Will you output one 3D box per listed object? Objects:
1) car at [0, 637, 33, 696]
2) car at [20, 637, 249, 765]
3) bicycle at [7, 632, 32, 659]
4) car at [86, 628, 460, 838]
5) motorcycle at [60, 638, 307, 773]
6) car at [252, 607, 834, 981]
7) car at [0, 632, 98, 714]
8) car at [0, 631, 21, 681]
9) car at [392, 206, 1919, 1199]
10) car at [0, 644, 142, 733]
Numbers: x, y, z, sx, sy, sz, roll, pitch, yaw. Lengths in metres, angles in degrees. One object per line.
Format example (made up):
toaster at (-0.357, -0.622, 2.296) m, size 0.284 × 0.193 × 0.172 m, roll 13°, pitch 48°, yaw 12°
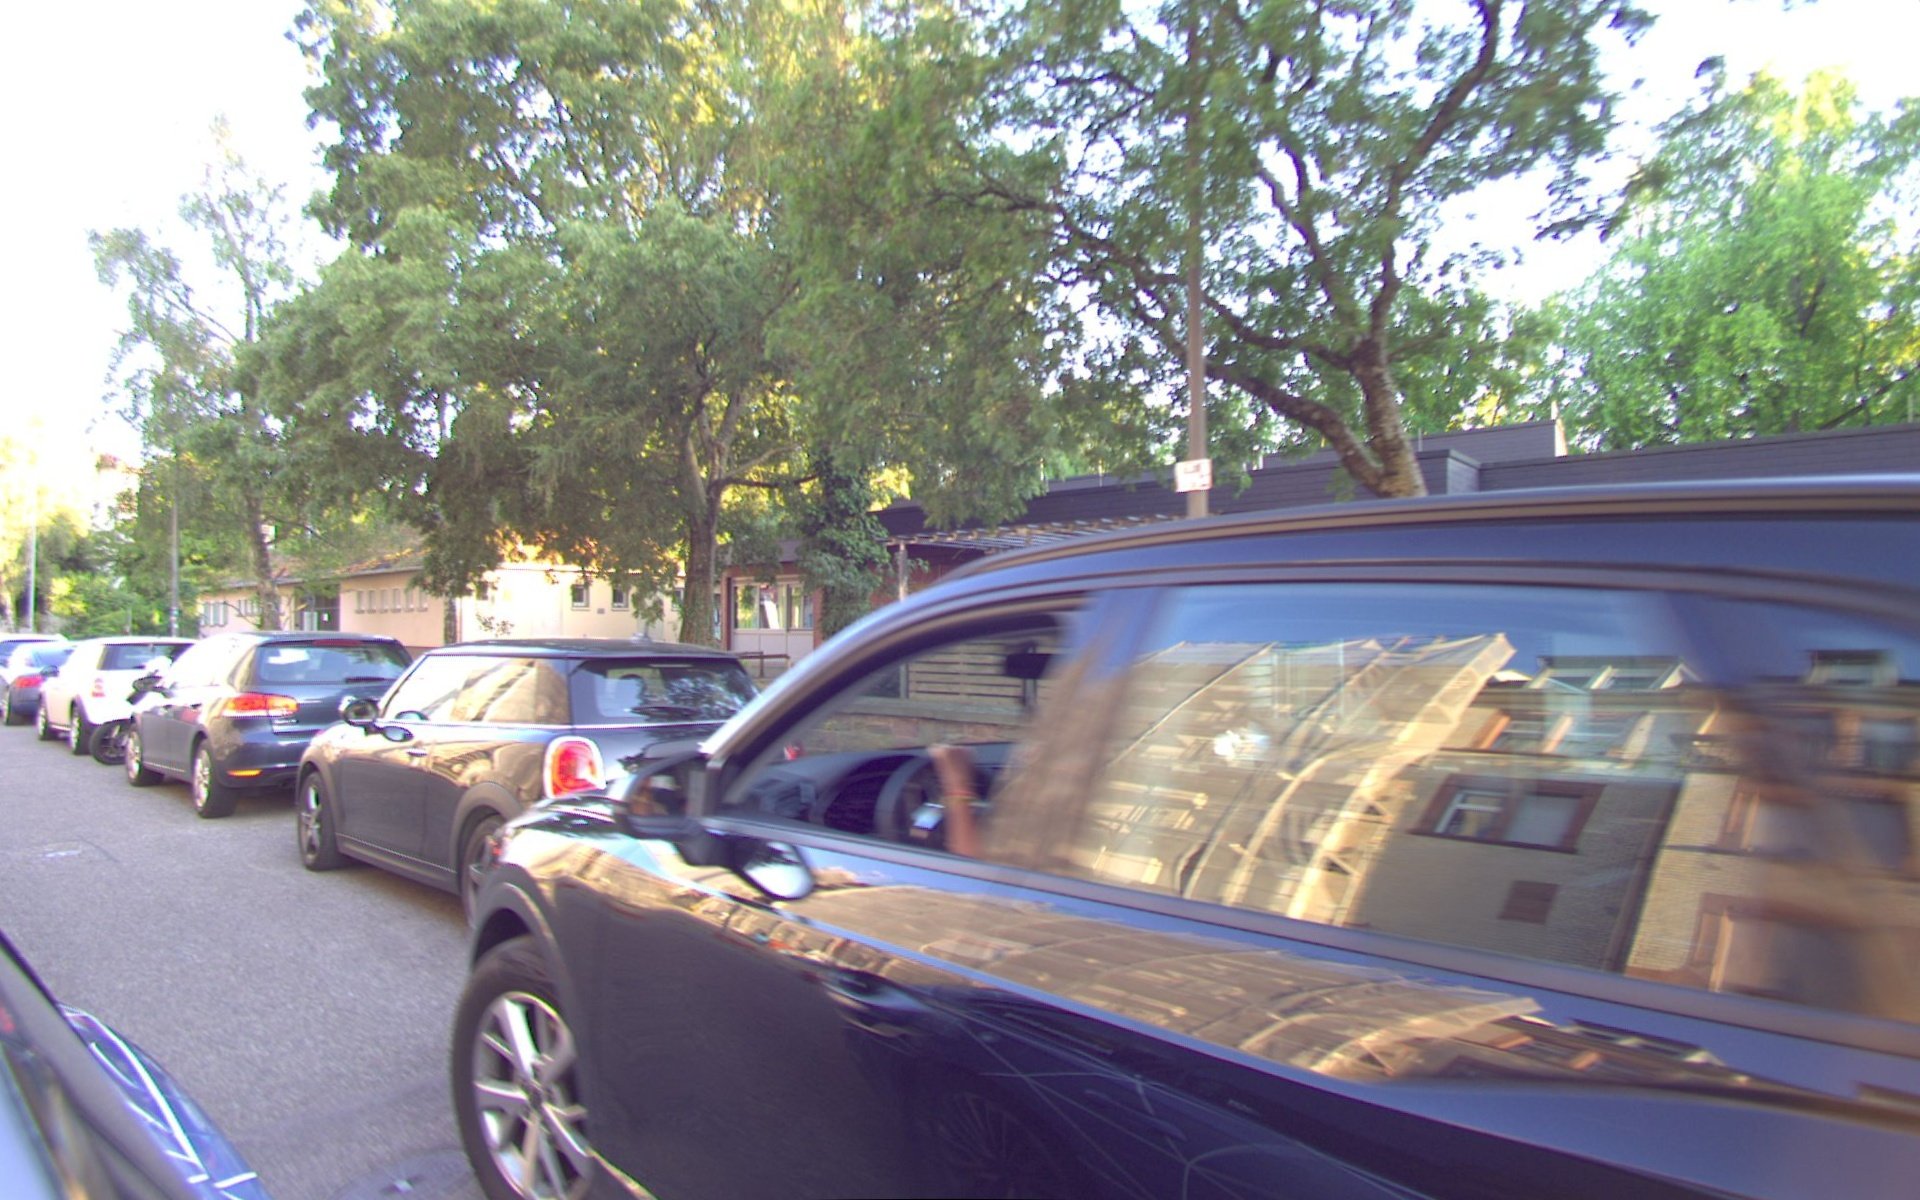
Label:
car at (-25.839, 1.684, 26.427) m, size 4.745 × 1.457 × 1.764 m, roll -2°, pitch -5°, yaw 41°
car at (-10.961, 1.246, 13.352) m, size 3.800 × 1.442 × 1.585 m, roll -2°, pitch -5°, yaw 40°
bicycle at (-40.829, 1.966, 43.939) m, size 1.953 × 1.126 × 0.538 m, roll -2°, pitch -1°, yaw 40°
car at (-6.482, 1.040, 9.355) m, size 4.357 × 1.508 × 1.698 m, roll -2°, pitch -3°, yaw 40°
motorcycle at (-8.648, 1.121, 11.399) m, size 2.135 × 1.313 × 0.882 m, roll -1°, pitch -1°, yaw -35°
car at (-2.681, 0.853, 6.012) m, size 3.991 × 1.489 × 1.619 m, roll -2°, pitch -4°, yaw 42°
car at (-19.574, 1.451, 20.972) m, size 4.755 × 1.550 × 1.841 m, roll -2°, pitch -3°, yaw 41°
car at (-30.087, 1.702, 30.535) m, size 3.994 × 1.464 × 1.974 m, roll -2°, pitch -2°, yaw 38°
car at (0.589, 0.625, 1.733) m, size 1.782 × 1.581 × 4.571 m, roll 2°, pitch -2°, yaw -42°
car at (-15.560, 1.438, 17.396) m, size 4.153 × 1.323 × 1.641 m, roll -2°, pitch -3°, yaw 42°
